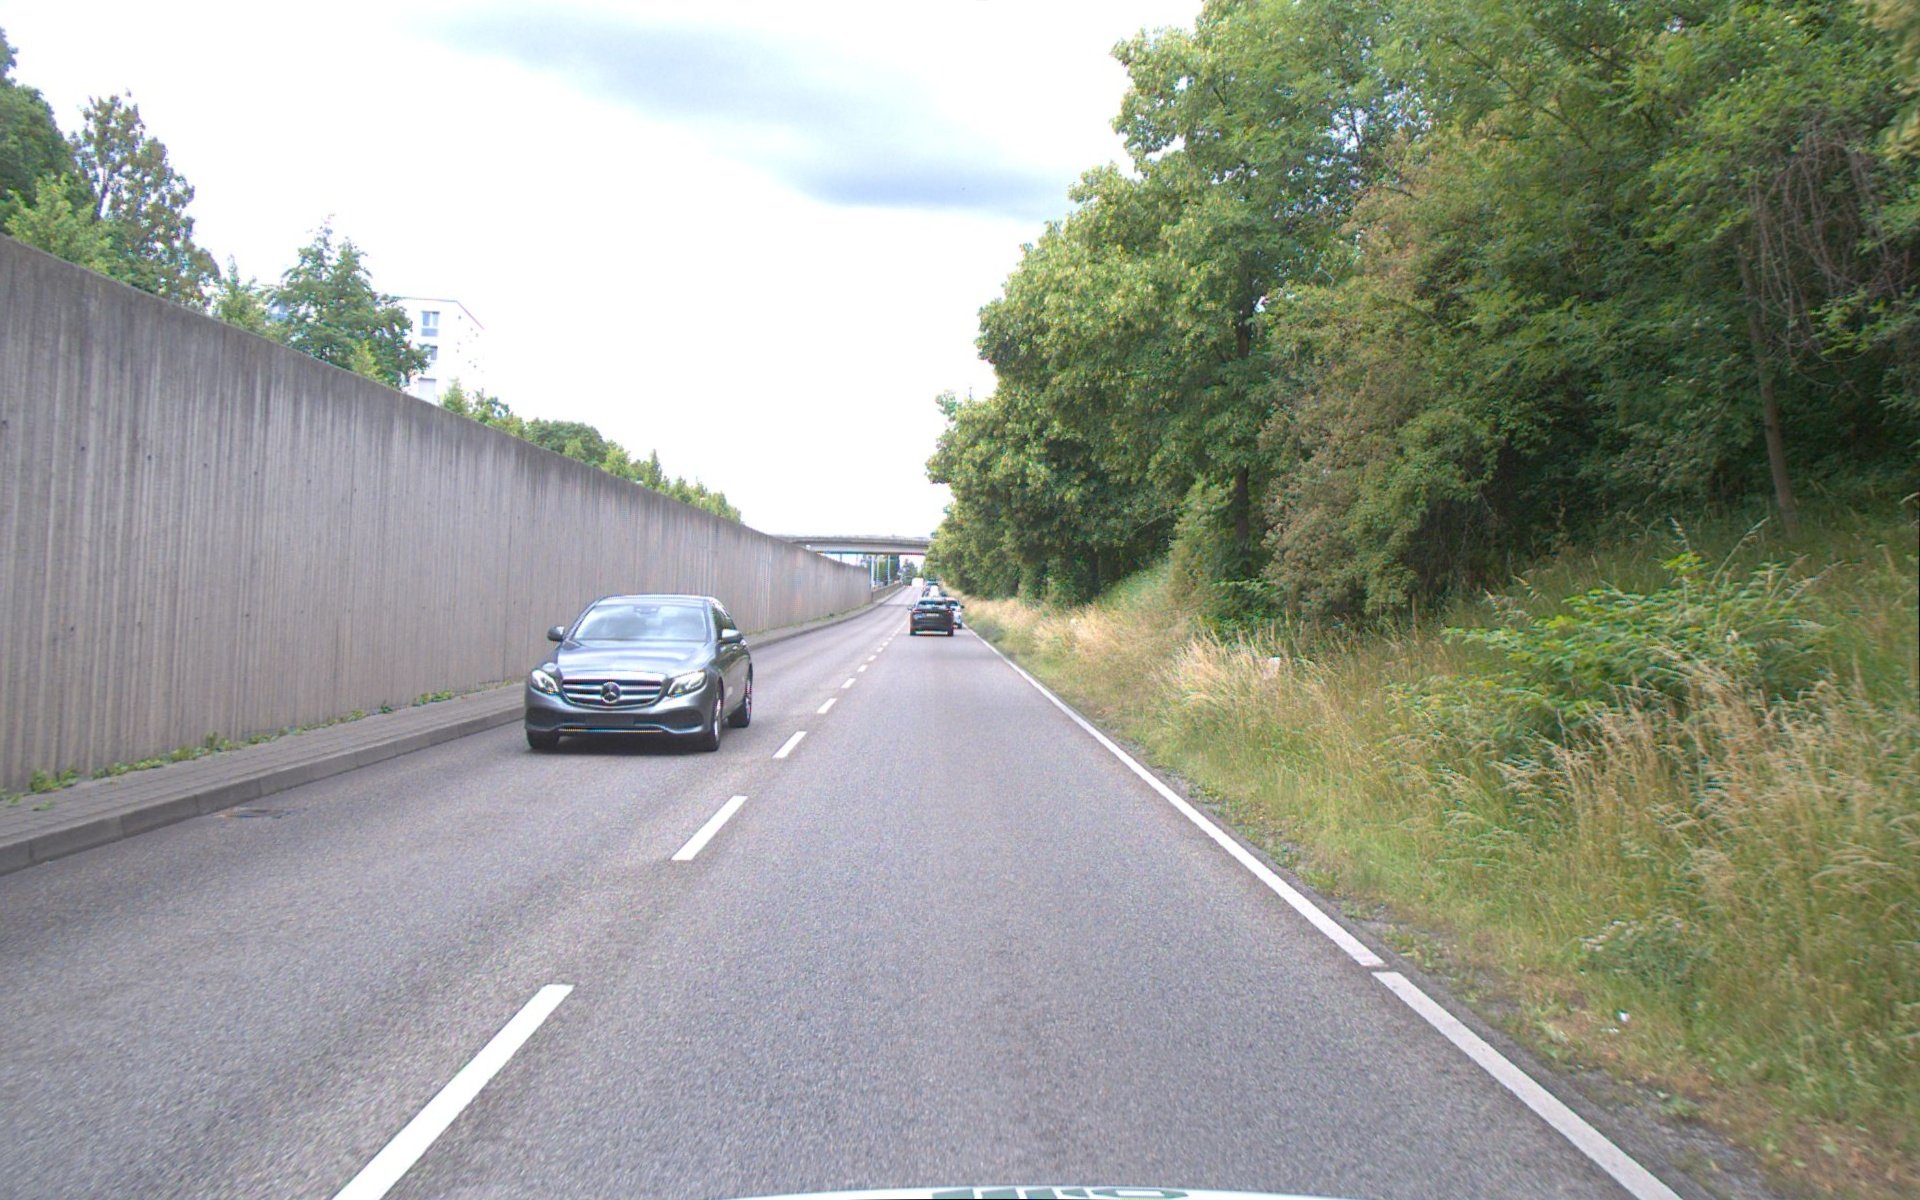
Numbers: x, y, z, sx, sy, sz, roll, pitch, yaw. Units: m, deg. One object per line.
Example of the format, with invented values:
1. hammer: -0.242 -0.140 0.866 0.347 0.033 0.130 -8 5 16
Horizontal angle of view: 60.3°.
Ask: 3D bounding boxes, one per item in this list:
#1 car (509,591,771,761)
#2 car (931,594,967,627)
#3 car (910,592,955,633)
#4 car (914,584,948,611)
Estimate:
1. car: -3.153 0.677 17.289 1.854 1.509 4.822 1 0 -1
2. car: -0.558 0.535 81.528 1.718 1.550 4.035 -1 -1 -1
3. car: -1.092 0.517 65.802 1.718 1.550 4.035 0 -2 -1
4. car: -1.778 -0.154 100.207 1.830 1.516 4.254 4 0 -3
